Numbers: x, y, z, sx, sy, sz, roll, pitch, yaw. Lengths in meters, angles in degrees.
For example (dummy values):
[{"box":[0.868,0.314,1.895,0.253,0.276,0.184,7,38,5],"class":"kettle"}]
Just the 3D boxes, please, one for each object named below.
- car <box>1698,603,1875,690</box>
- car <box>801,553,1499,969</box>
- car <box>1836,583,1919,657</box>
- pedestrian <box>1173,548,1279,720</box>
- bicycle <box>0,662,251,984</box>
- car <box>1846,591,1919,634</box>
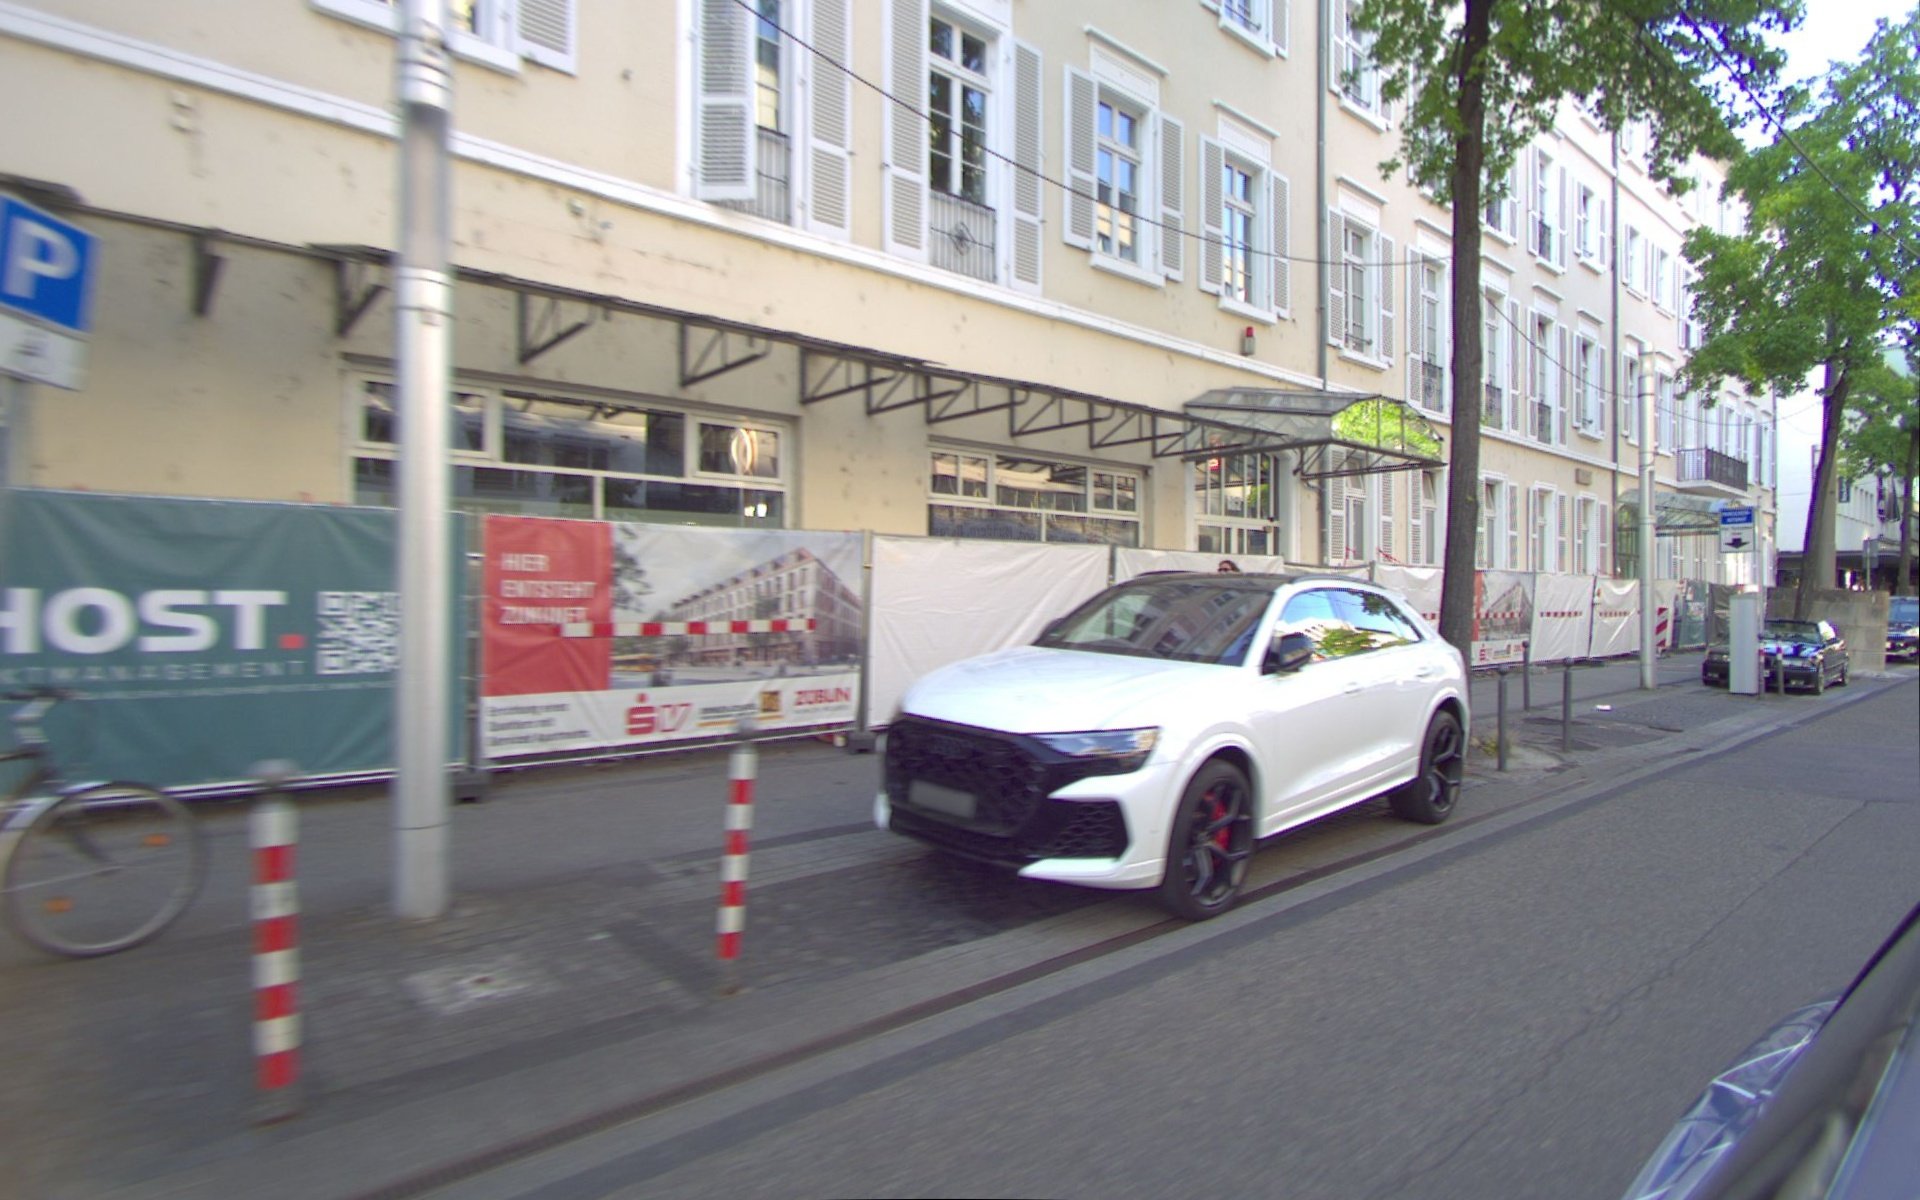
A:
[{"box":[15.387,0.778,18.771,4.253,1.327,1.798,0,2,-41],"class":"car"},{"box":[1.567,0.604,6.601,4.886,1.708,2.000,-1,3,-44],"class":"car"},{"box":[25.560,0.504,27.393,4.236,1.815,1.958,0,2,-38],"class":"car"},{"box":[3.118,0.368,11.868,1.034,1.910,0.714,0,1,-41],"class":"pedestrian"},{"box":[-3.816,0.856,3.711,0.417,1.114,1.960,2,2,39],"class":"bicycle"},{"box":[37.928,0.469,40.062,1.831,1.628,3.944,-2,1,-33],"class":"car"}]
